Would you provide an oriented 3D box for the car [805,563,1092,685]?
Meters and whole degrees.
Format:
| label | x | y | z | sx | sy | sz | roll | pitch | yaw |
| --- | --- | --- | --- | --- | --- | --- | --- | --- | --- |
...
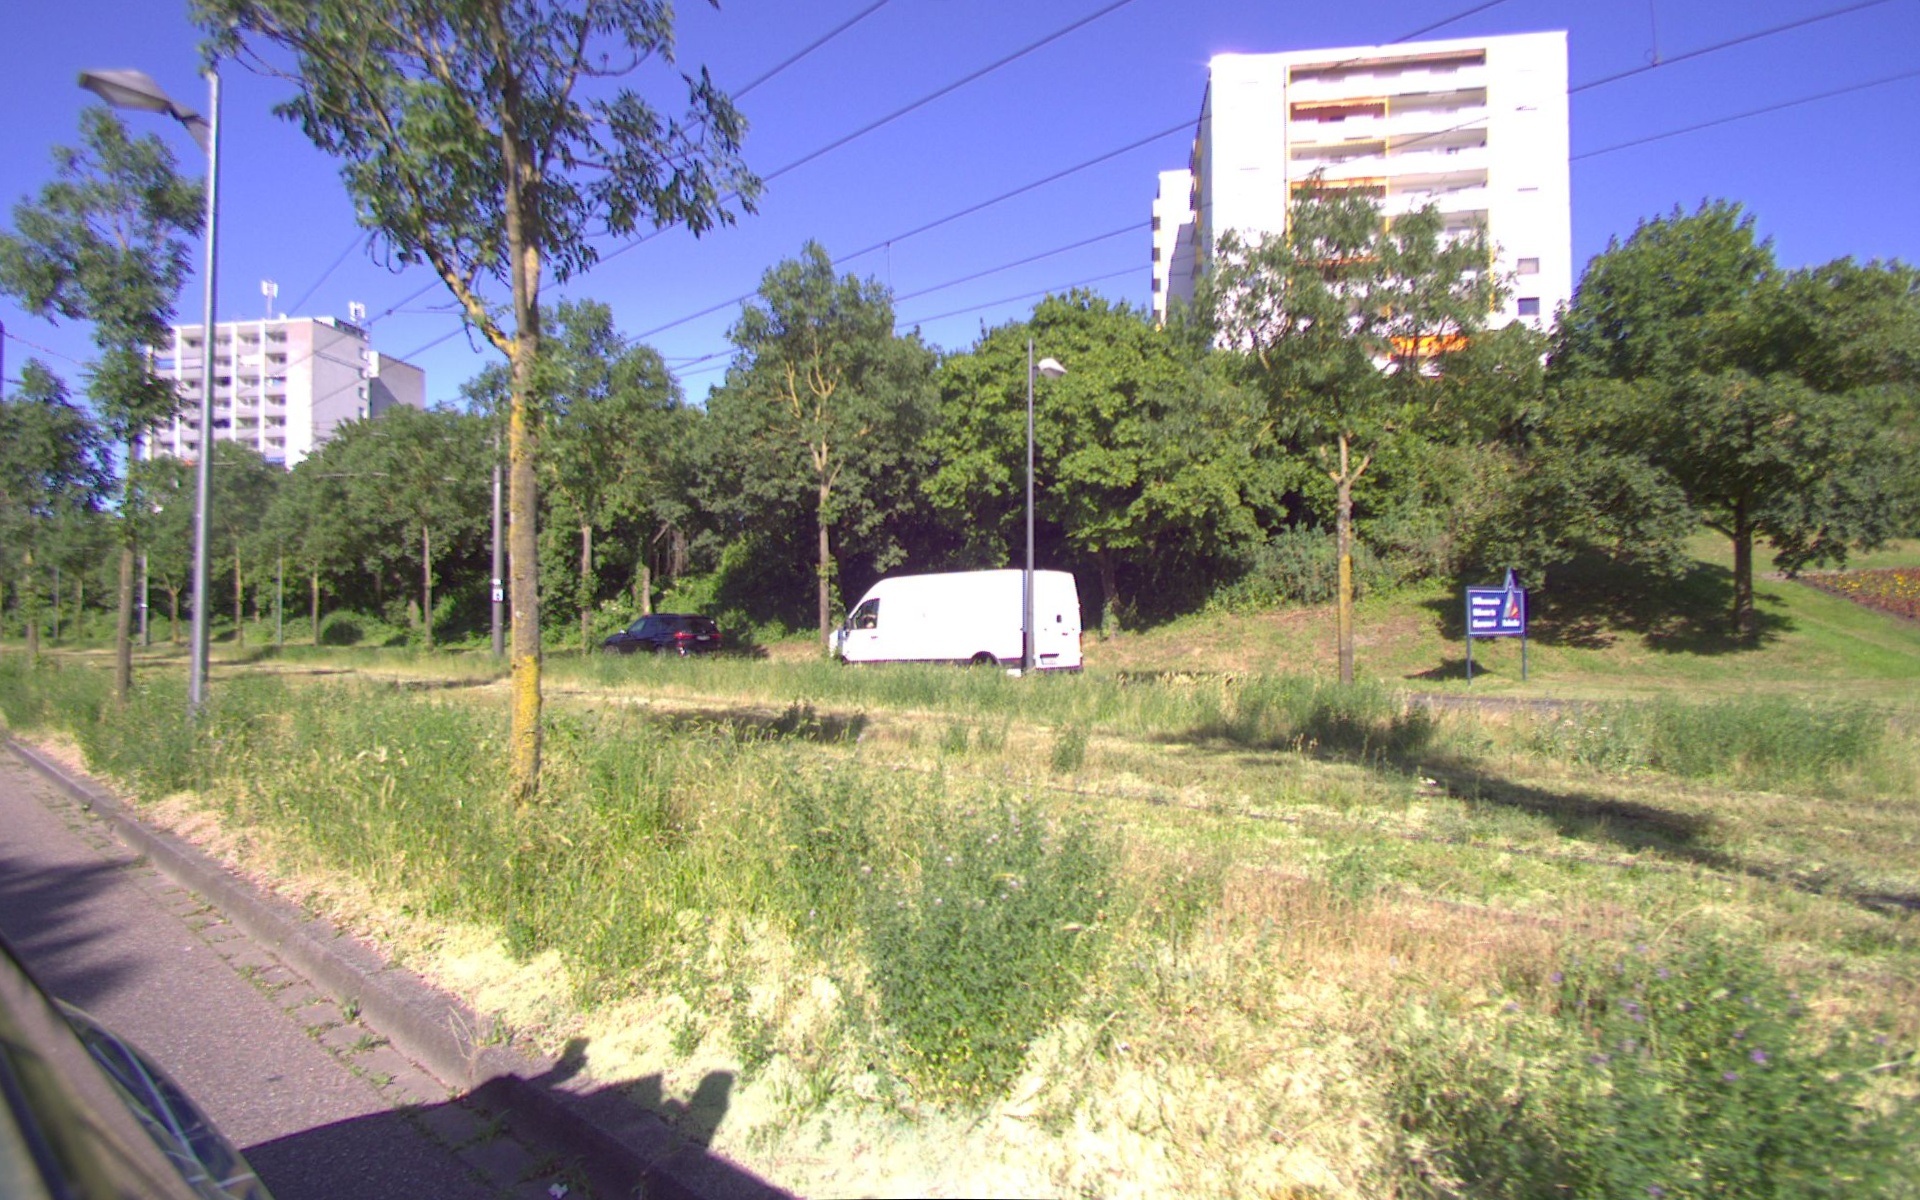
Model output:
| label | x | y | z | sx | sy | sz | roll | pitch | yaw |
| --- | --- | --- | --- | --- | --- | --- | --- | --- | --- |
| car | -0.472 | 0.534 | 22.956 | 6.875 | 2.387 | 2.019 | -1 | -1 | 40 |

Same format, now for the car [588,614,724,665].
| label | x | y | z | sx | sy | sz | roll | pitch | yaw |
| --- | --- | --- | --- | --- | --- | --- | --- | --- | --- |
| car | -10.467 | 1.308 | 34.628 | 5.270 | 1.596 | 1.973 | -1 | -1 | 41 |
